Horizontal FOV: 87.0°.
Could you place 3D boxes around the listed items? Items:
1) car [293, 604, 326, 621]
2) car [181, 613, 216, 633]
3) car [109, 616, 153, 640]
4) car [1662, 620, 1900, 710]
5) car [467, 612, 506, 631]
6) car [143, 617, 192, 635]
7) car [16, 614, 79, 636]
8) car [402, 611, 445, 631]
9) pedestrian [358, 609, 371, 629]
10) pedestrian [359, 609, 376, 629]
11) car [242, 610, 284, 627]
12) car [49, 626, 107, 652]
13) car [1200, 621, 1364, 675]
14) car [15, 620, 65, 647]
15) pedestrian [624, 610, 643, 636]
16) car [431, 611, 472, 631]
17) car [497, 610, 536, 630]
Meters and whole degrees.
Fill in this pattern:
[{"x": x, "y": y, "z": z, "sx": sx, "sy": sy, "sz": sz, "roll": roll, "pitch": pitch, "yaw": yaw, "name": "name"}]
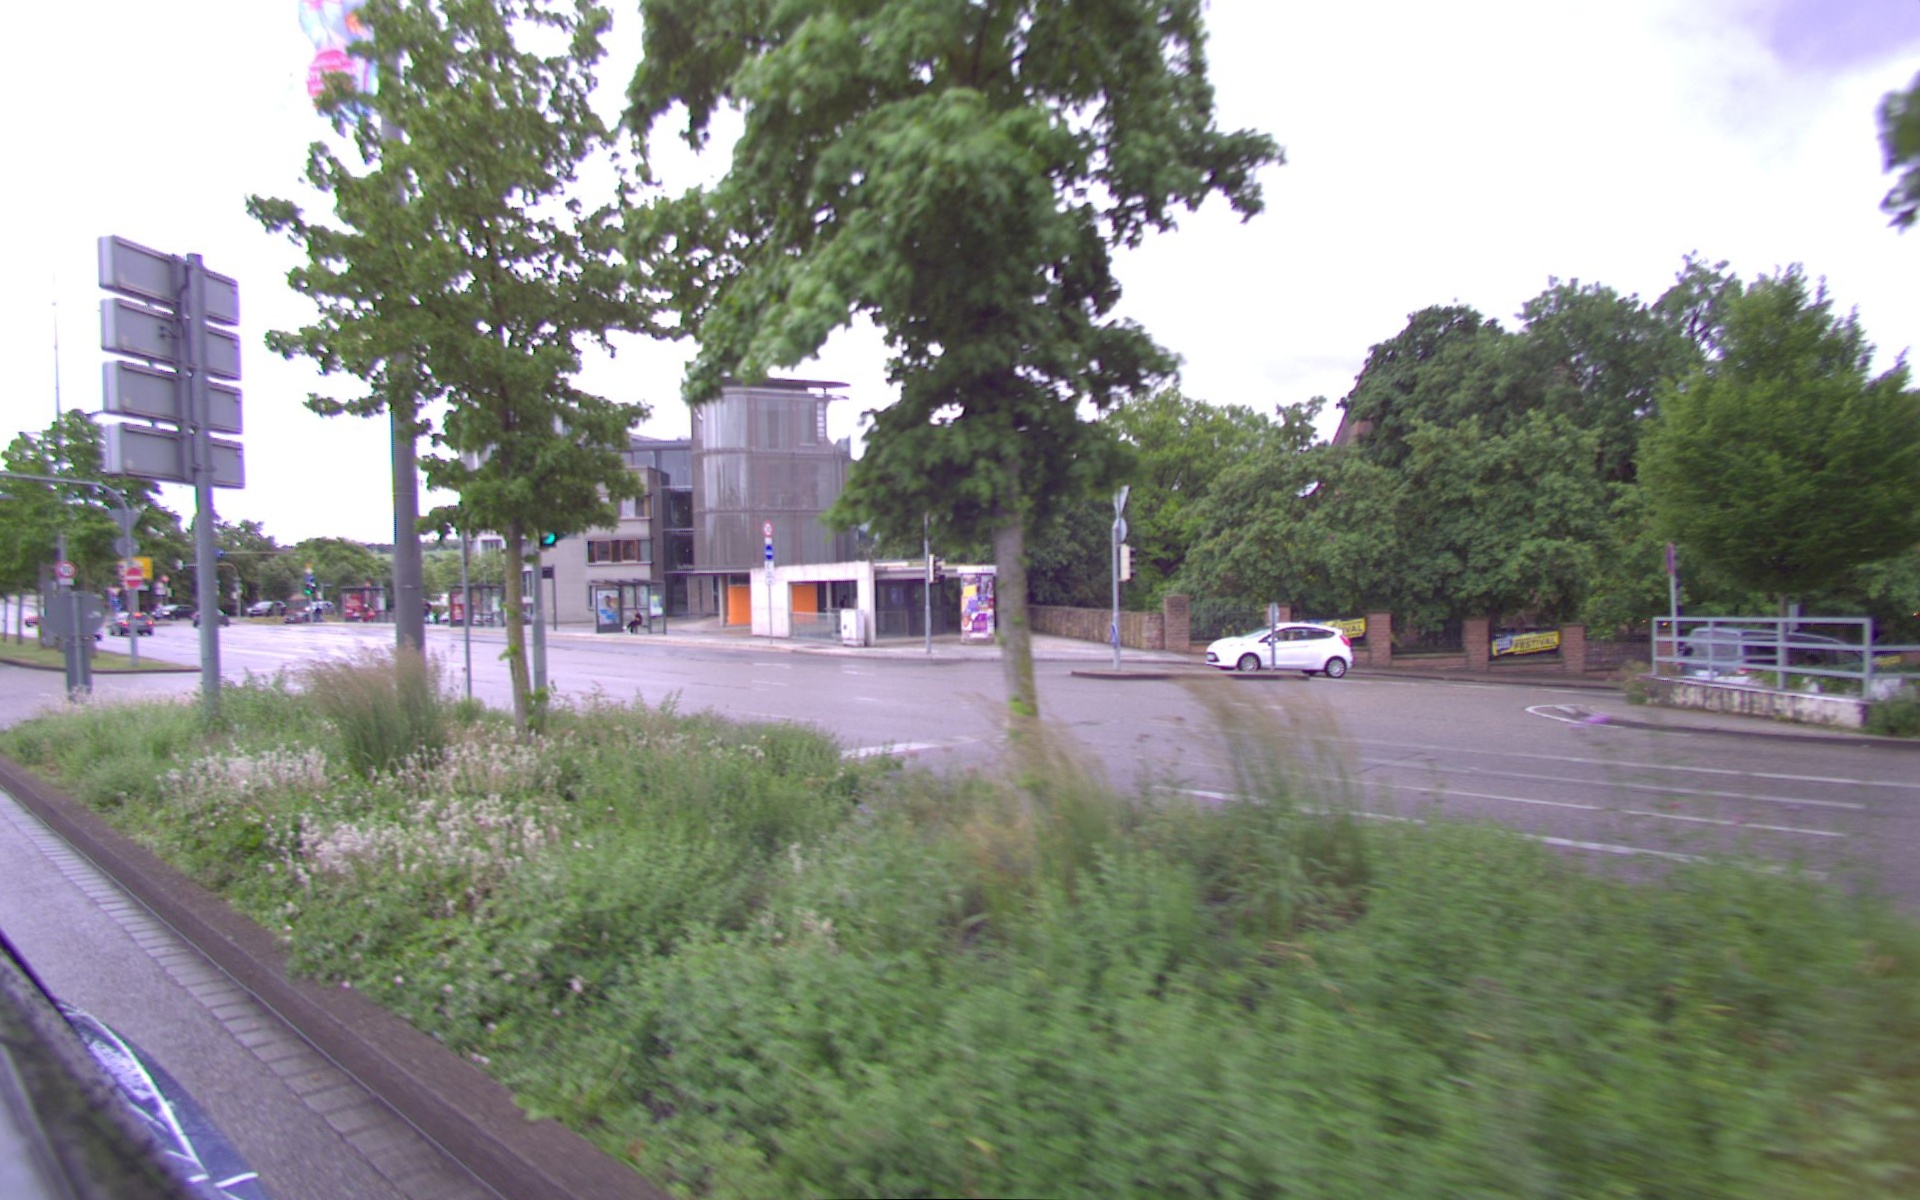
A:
[{"x": -77.511, "y": 1.510, "z": 120.666, "sx": 1.967, "sy": 1.896, "sz": 4.009, "roll": 1, "pitch": -1, "yaw": -11, "name": "car"}, {"x": -61.200, "y": 1.816, "z": 81.291, "sx": 3.865, "sy": 1.524, "sz": 1.658, "roll": 0, "pitch": -1, "yaw": 44, "name": "car"}, {"x": -53.813, "y": 1.801, "z": 65.673, "sx": 4.453, "sy": 1.477, "sz": 1.675, "roll": 0, "pitch": -1, "yaw": 44, "name": "car"}, {"x": 17.300, "y": 1.323, "z": 21.395, "sx": 3.936, "sy": 1.772, "sz": 1.638, "roll": 0, "pitch": -1, "yaw": -9, "name": "car"}, {"x": -42.177, "y": 1.890, "z": 90.225, "sx": 1.849, "sy": 1.715, "sz": 4.161, "roll": 0, "pitch": -1, "yaw": -4, "name": "car"}, {"x": -75.041, "y": 2.442, "z": 95.903, "sx": 1.864, "sy": 1.726, "sz": 4.226, "roll": 1, "pitch": -1, "yaw": -9, "name": "car"}, {"x": -73.653, "y": 1.998, "z": 81.781, "sx": 1.847, "sy": 1.646, "sz": 4.166, "roll": 0, "pitch": -1, "yaw": -9, "name": "car"}, {"x": -47.660, "y": 1.852, "z": 89.929, "sx": 1.849, "sy": 1.715, "sz": 4.161, "roll": 1, "pitch": -1, "yaw": -4, "name": "car"}, {"x": -45.714, "y": 1.430, "z": 77.675, "sx": 0.722, "sy": 1.501, "sz": 0.735, "roll": 1, "pitch": -1, "yaw": -41, "name": "pedestrian"}, {"x": -45.064, "y": 1.425, "z": 76.944, "sx": 0.969, "sy": 1.501, "sz": 0.735, "roll": 1, "pitch": -1, "yaw": -39, "name": "pedestrian"}, {"x": -72.030, "y": 1.886, "z": 104.652, "sx": 1.865, "sy": 1.726, "sz": 4.225, "roll": 1, "pitch": -1, "yaw": -8, "name": "car"}, {"x": -50.605, "y": 2.227, "z": 58.060, "sx": 4.163, "sy": 1.363, "sz": 1.984, "roll": 0, "pitch": -1, "yaw": 41, "name": "car"}, {"x": 8.788, "y": 1.290, "z": 27.789, "sx": 3.939, "sy": 1.409, "sz": 1.637, "roll": 1, "pitch": -1, "yaw": -5, "name": "car"}, {"x": -56.330, "y": 2.020, "z": 61.947, "sx": 4.165, "sy": 1.566, "sz": 1.983, "roll": 0, "pitch": -1, "yaw": 44, "name": "car"}, {"x": -16.332, "y": 1.156, "z": 50.629, "sx": 0.659, "sy": 1.309, "sz": 0.720, "roll": 1, "pitch": -1, "yaw": -44, "name": "pedestrian"}, {"x": -45.183, "y": 1.875, "z": 90.002, "sx": 1.849, "sy": 1.715, "sz": 4.161, "roll": 1, "pitch": -1, "yaw": -4, "name": "car"}, {"x": -39.706, "y": 1.761, "z": 90.704, "sx": 1.849, "sy": 1.715, "sz": 4.161, "roll": 1, "pitch": -1, "yaw": -4, "name": "car"}]
